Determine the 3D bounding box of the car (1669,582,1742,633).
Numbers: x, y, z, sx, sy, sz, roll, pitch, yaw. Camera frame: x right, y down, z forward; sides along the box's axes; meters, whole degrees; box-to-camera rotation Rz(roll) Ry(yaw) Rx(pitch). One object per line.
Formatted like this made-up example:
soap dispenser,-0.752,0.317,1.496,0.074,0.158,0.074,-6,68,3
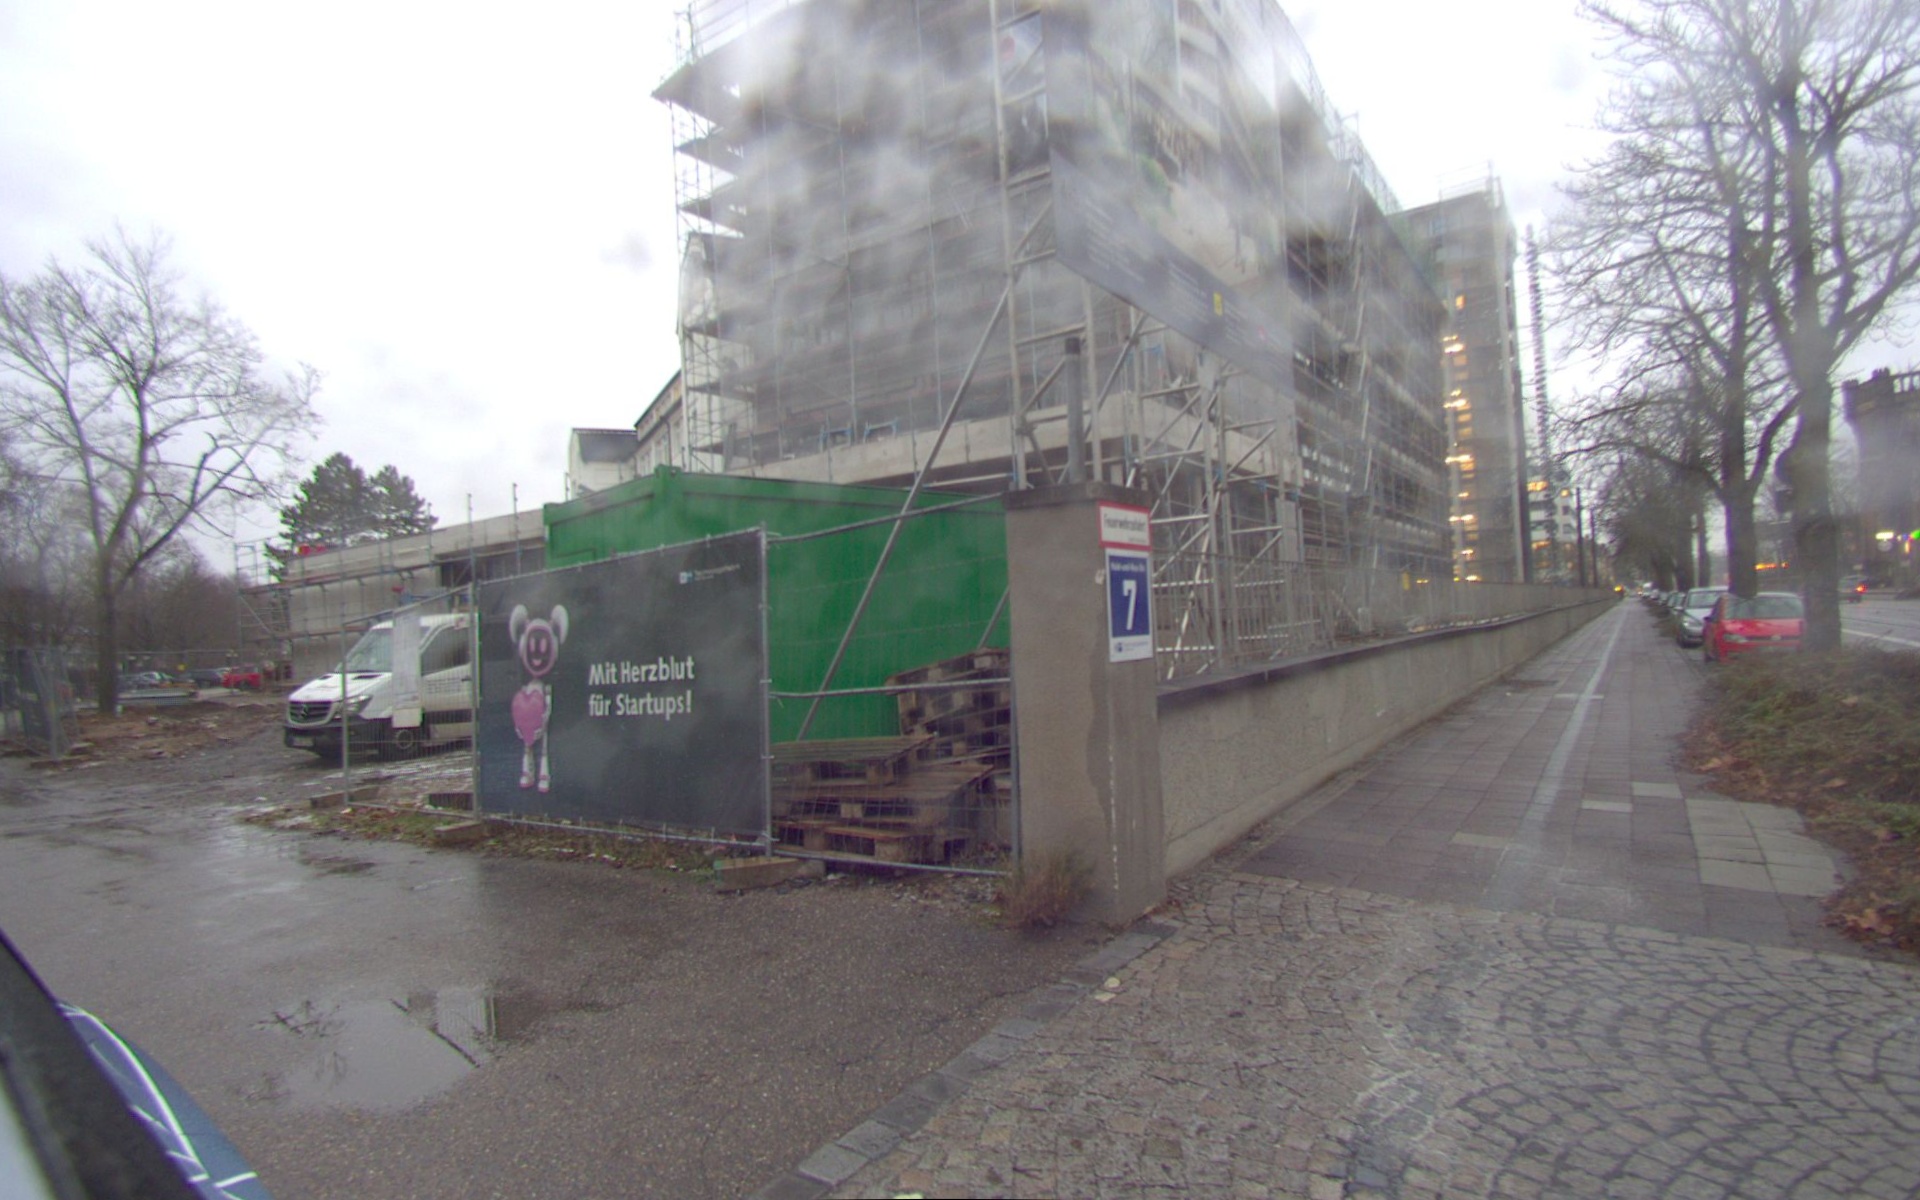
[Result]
car,25.881,0.256,35.183,1.864,1.606,3.951,-4,-2,36

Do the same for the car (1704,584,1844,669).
car,15.140,0.491,18.990,1.751,1.398,3.691,-4,-2,36

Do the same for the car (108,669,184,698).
car,-58.004,5.916,72.185,3.931,1.810,1.808,-2,-2,-25

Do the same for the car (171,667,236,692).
car,-61.878,6.500,82.862,3.931,1.810,1.808,-2,-2,-25

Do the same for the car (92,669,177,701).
car,-53.584,5.498,65.781,3.931,1.810,1.808,-2,-2,-25

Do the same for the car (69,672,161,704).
car,-51.938,5.370,62.307,3.931,1.674,2.006,-2,-2,-25

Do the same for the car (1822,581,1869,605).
car,57.604,-0.401,65.870,1.762,1.422,3.953,-4,-2,34

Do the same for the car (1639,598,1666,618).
car,59.610,0.674,87.066,1.751,1.596,3.691,-4,-2,36

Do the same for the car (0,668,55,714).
car,-44.901,4.294,46.934,3.931,2.007,2.006,-2,-2,-25

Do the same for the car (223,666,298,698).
car,-38.616,4.485,55.944,3.253,1.535,1.709,-1,-2,-30

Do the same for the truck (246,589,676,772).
truck,-8.424,1.183,18.224,2.121,2.607,7.017,-4,-1,26

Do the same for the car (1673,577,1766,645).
car,19.838,0.287,26.540,1.751,1.596,3.691,-4,-2,36

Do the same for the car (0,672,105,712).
car,-47.950,4.820,53.426,3.931,1.810,1.808,-2,-2,-25

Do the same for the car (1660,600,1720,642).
car,30.611,0.850,42.454,1.864,1.606,3.951,-4,-2,36
